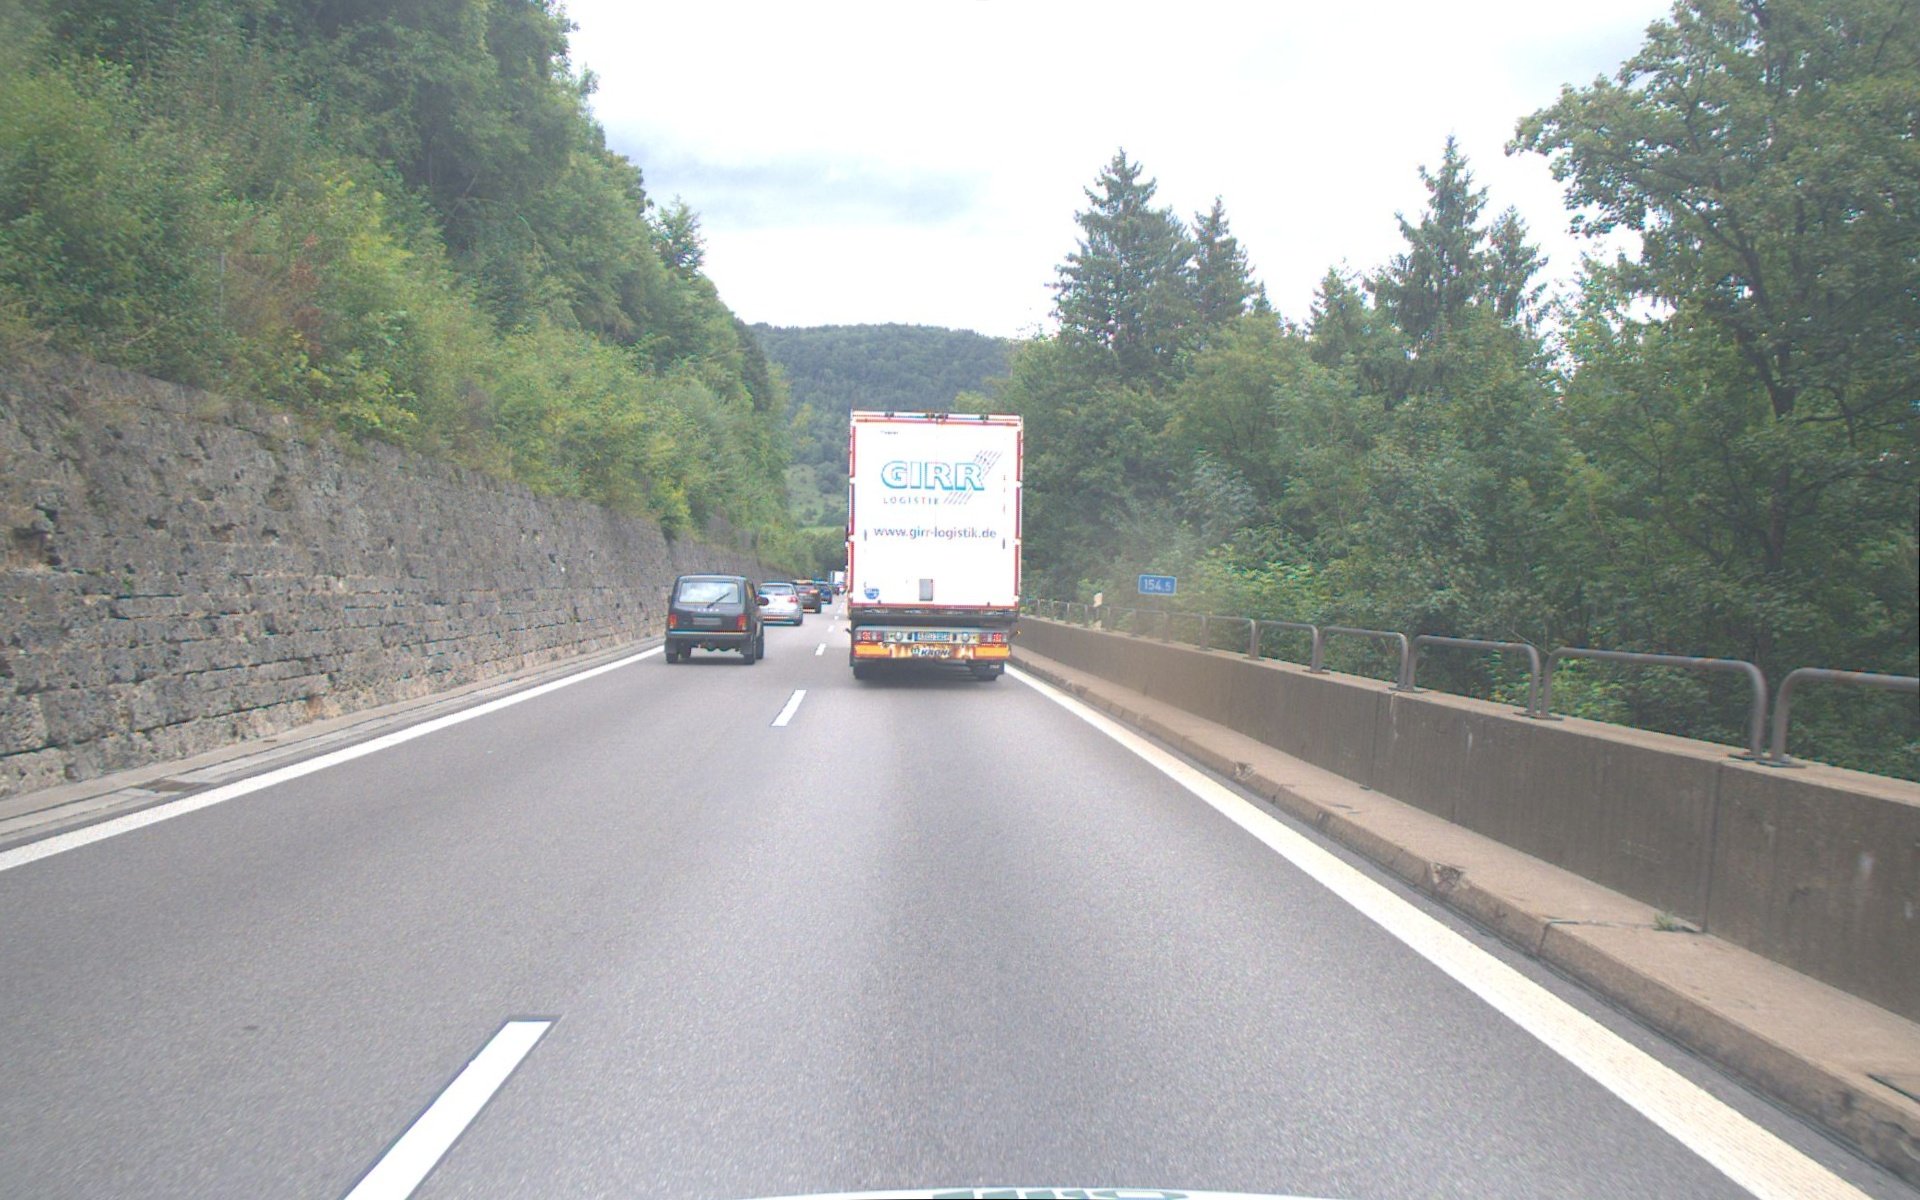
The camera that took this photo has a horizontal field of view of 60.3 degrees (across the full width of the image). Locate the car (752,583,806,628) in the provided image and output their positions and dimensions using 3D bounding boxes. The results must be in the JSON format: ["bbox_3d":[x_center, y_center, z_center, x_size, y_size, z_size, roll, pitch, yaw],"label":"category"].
[{"bbox_3d":[-6.414,0.198,58.853,1.695,1.512,3.997,1,0,-4],"label":"car"}]

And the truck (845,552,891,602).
[{"bbox_3d":[-7.875,-1.881,142.754,3.440,3.914,11.772,1,-1,-1],"label":"truck"}]

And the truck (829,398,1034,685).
[{"bbox_3d":[-0.454,-0.843,28.132,2.849,4.030,9.277,1,0,-1],"label":"truck"}]

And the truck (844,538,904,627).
[{"bbox_3d":[-3.861,-0.717,72.963,2.437,3.634,9.301,1,0,-4],"label":"truck"}]

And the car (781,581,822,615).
[{"bbox_3d":[-7.940,-0.094,82.914,1.879,1.622,4.176,1,0,-4],"label":"car"}]

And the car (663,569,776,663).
[{"bbox_3d":[-4.544,0.293,31.733,1.635,1.667,4.067,1,0,-1],"label":"car"}]

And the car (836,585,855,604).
[{"bbox_3d":[-12.953,-0.631,186.955,1.953,2.049,3.998,1,-1,-2],"label":"car"}]
